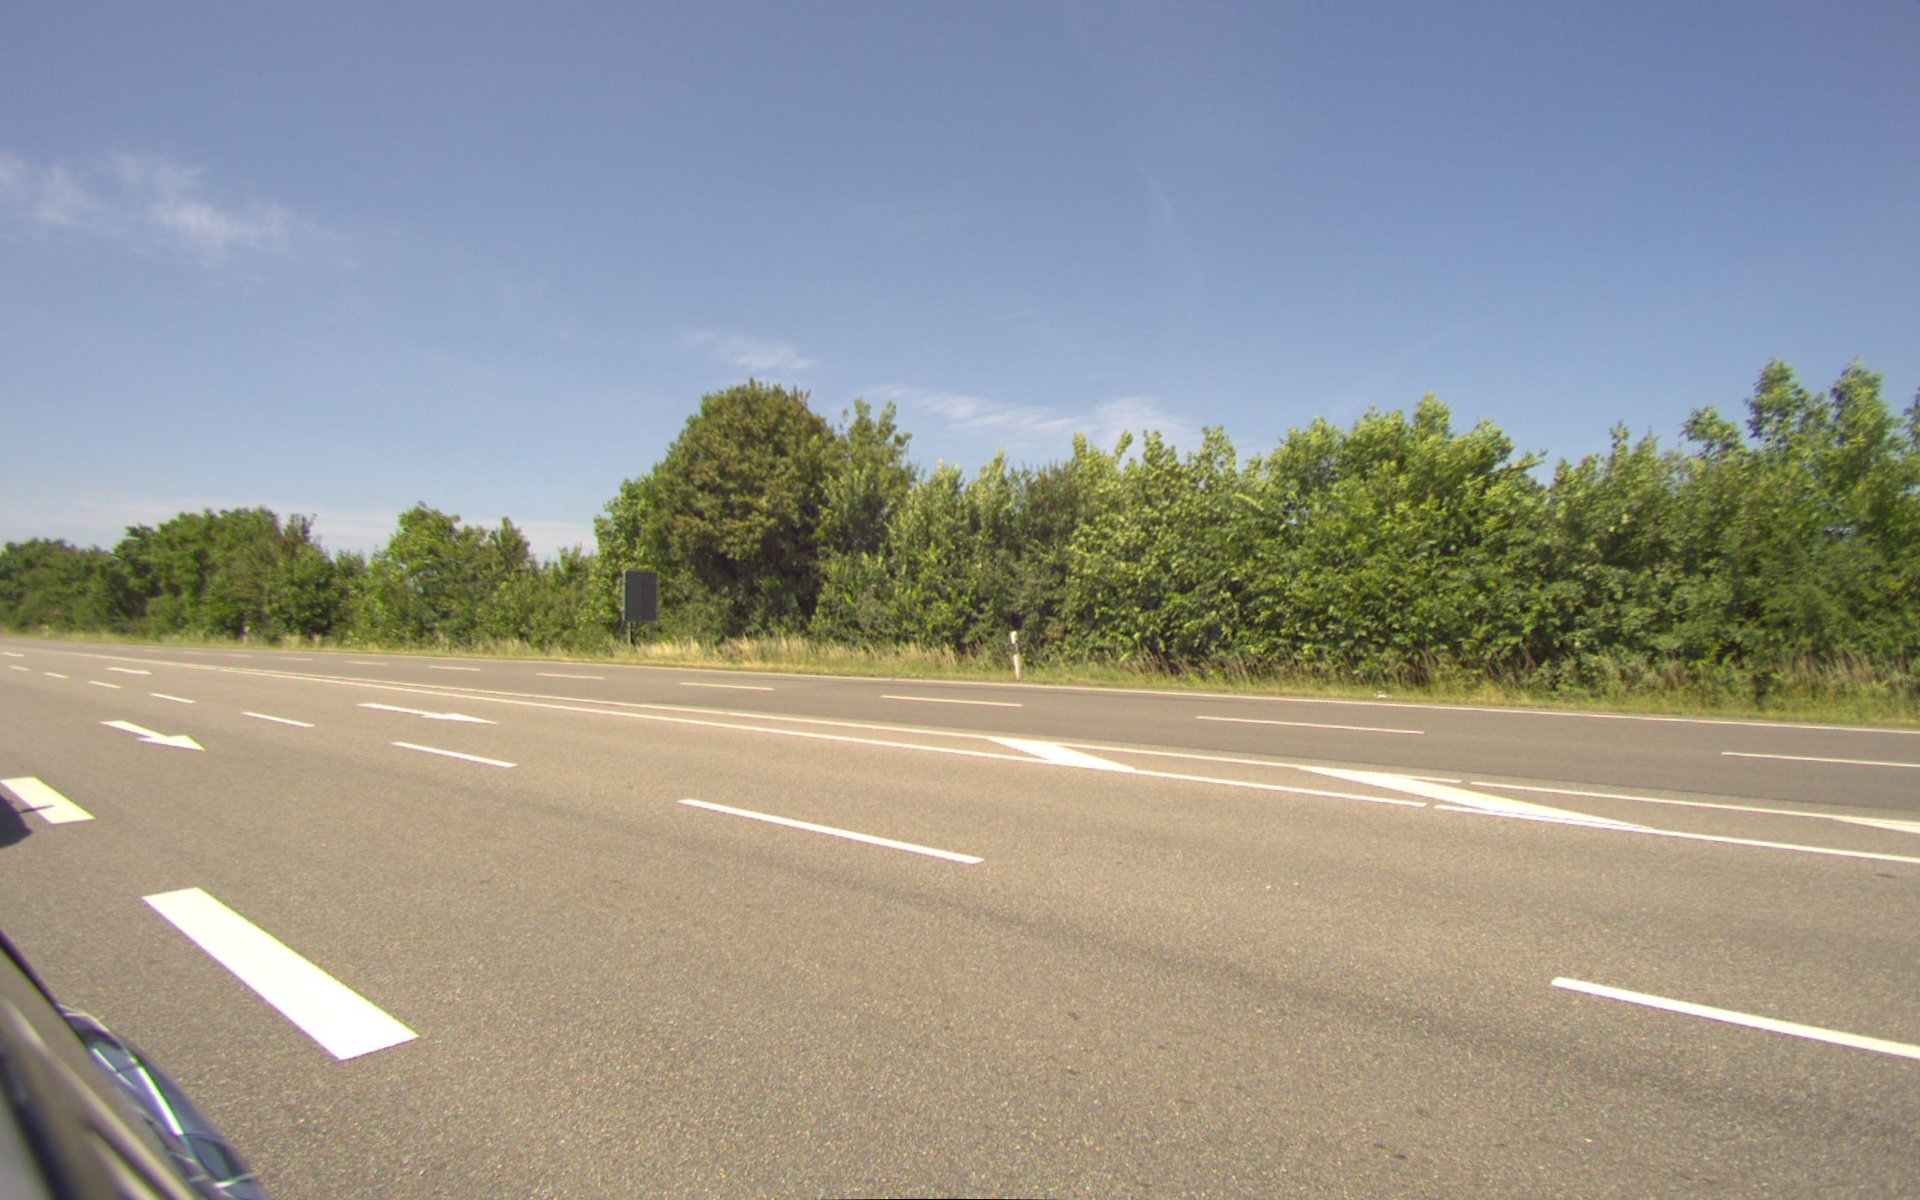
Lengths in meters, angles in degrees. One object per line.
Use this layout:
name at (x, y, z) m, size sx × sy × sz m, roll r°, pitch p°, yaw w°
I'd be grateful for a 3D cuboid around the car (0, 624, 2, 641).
car at (-84.325, 2.801, 87.324) m, size 4.525 × 1.409 × 1.860 m, roll -1°, pitch -1°, yaw 38°
